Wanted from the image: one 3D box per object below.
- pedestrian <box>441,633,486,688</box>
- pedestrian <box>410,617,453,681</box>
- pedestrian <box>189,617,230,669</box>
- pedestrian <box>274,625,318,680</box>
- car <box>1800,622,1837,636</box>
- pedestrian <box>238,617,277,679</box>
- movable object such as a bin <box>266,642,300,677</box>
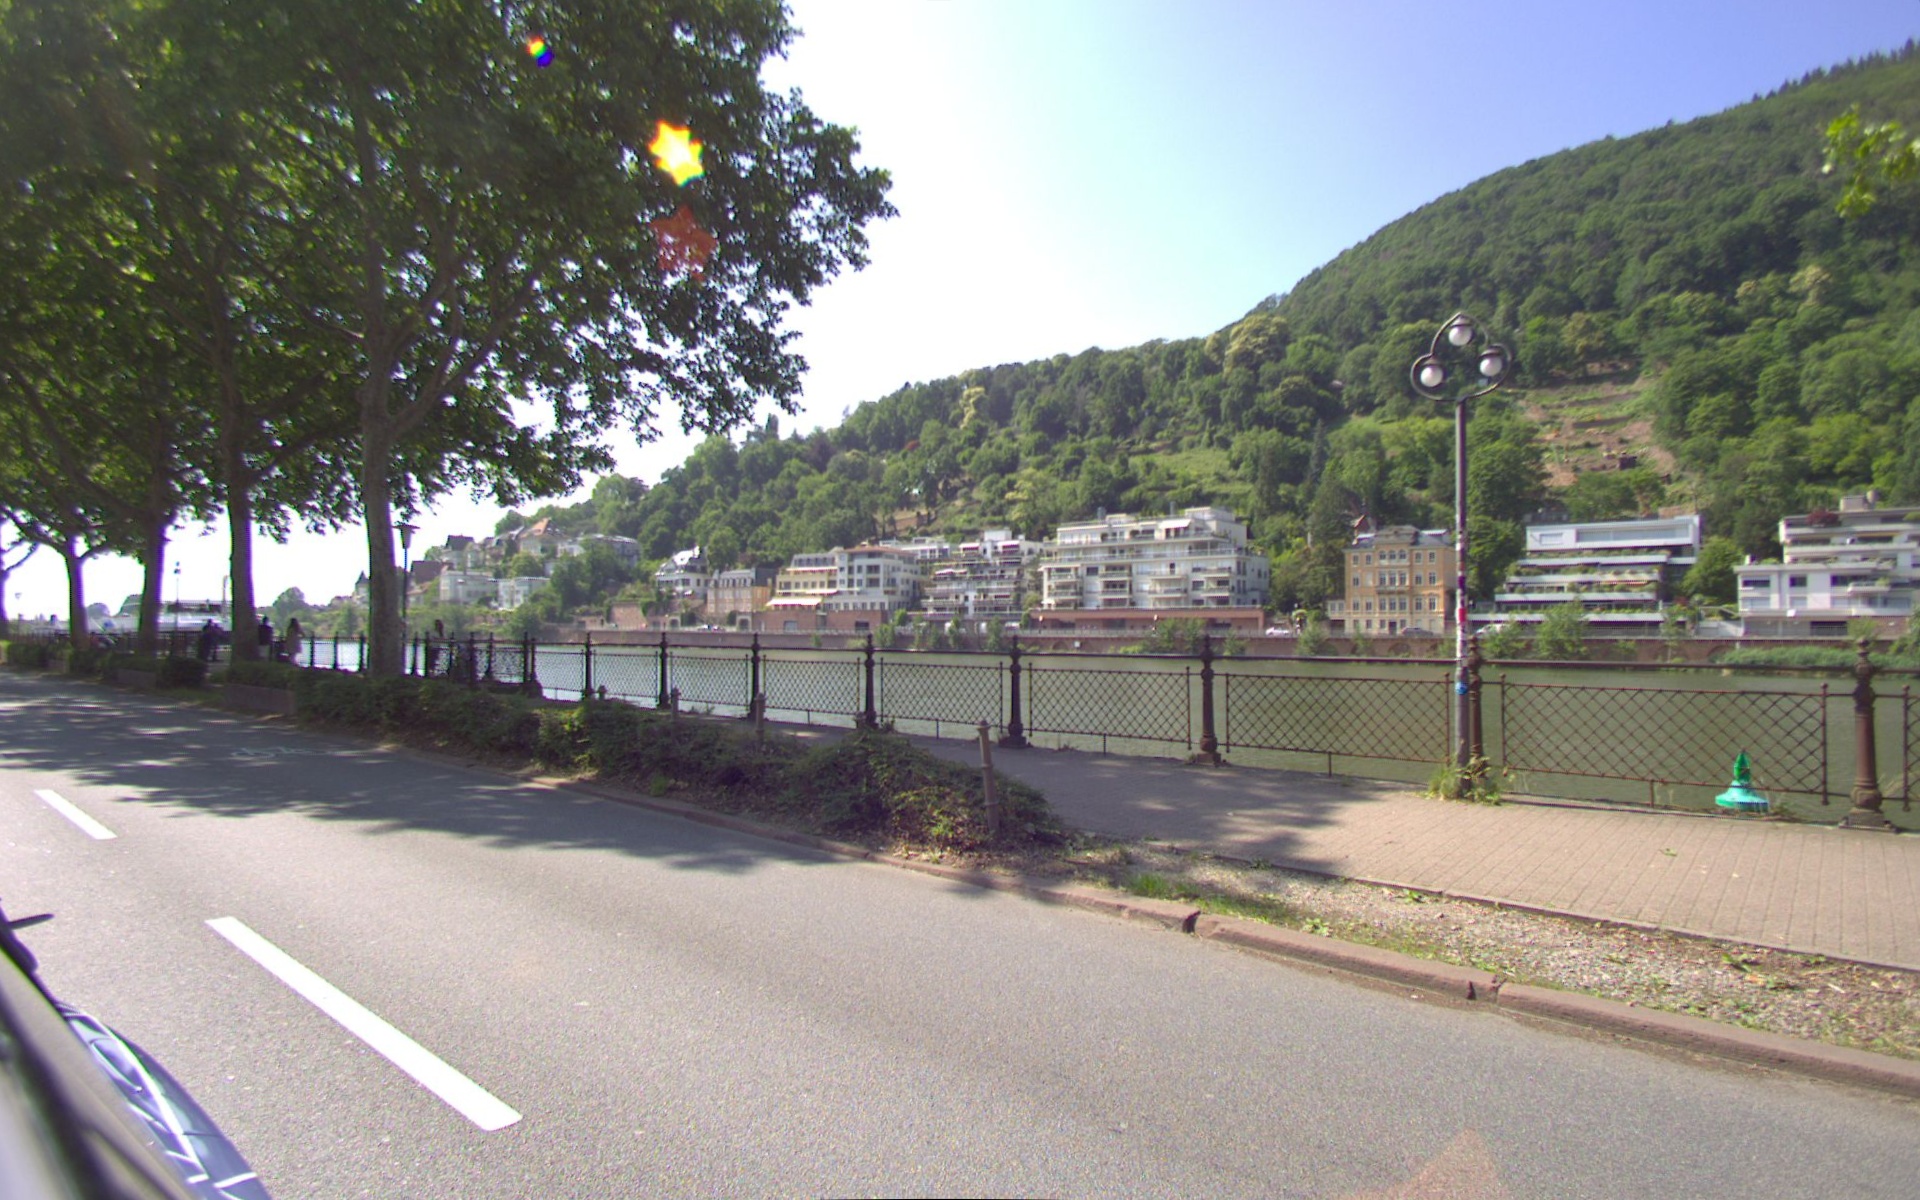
[{"bbox_3d":[-12.702,1.538,25.880,0.770,1.398,0.758,-2,-3,40],"label":"pedestrian"},{"bbox_3d":[-15.114,1.402,28.944,0.829,1.771,0.767,-2,-4,40],"label":"pedestrian"},{"bbox_3d":[-30.334,1.715,40.911,1.032,2.029,1.038,-1,0,-19],"label":"pedestrian"},{"bbox_3d":[-20.808,1.633,31.701,1.058,1.647,0.886,-1,0,40],"label":"pedestrian"},{"bbox_3d":[125.368,4.256,147.863,3.998,2.029,1.973,-3,-1,41],"label":"car"},{"bbox_3d":[-21.841,1.482,31.456,0.928,1.863,0.796,-1,0,41],"label":"pedestrian"},{"bbox_3d":[-21.551,1.876,32.209,0.782,1.057,0.696,-1,0,37],"label":"movable object such as a bin"}]
